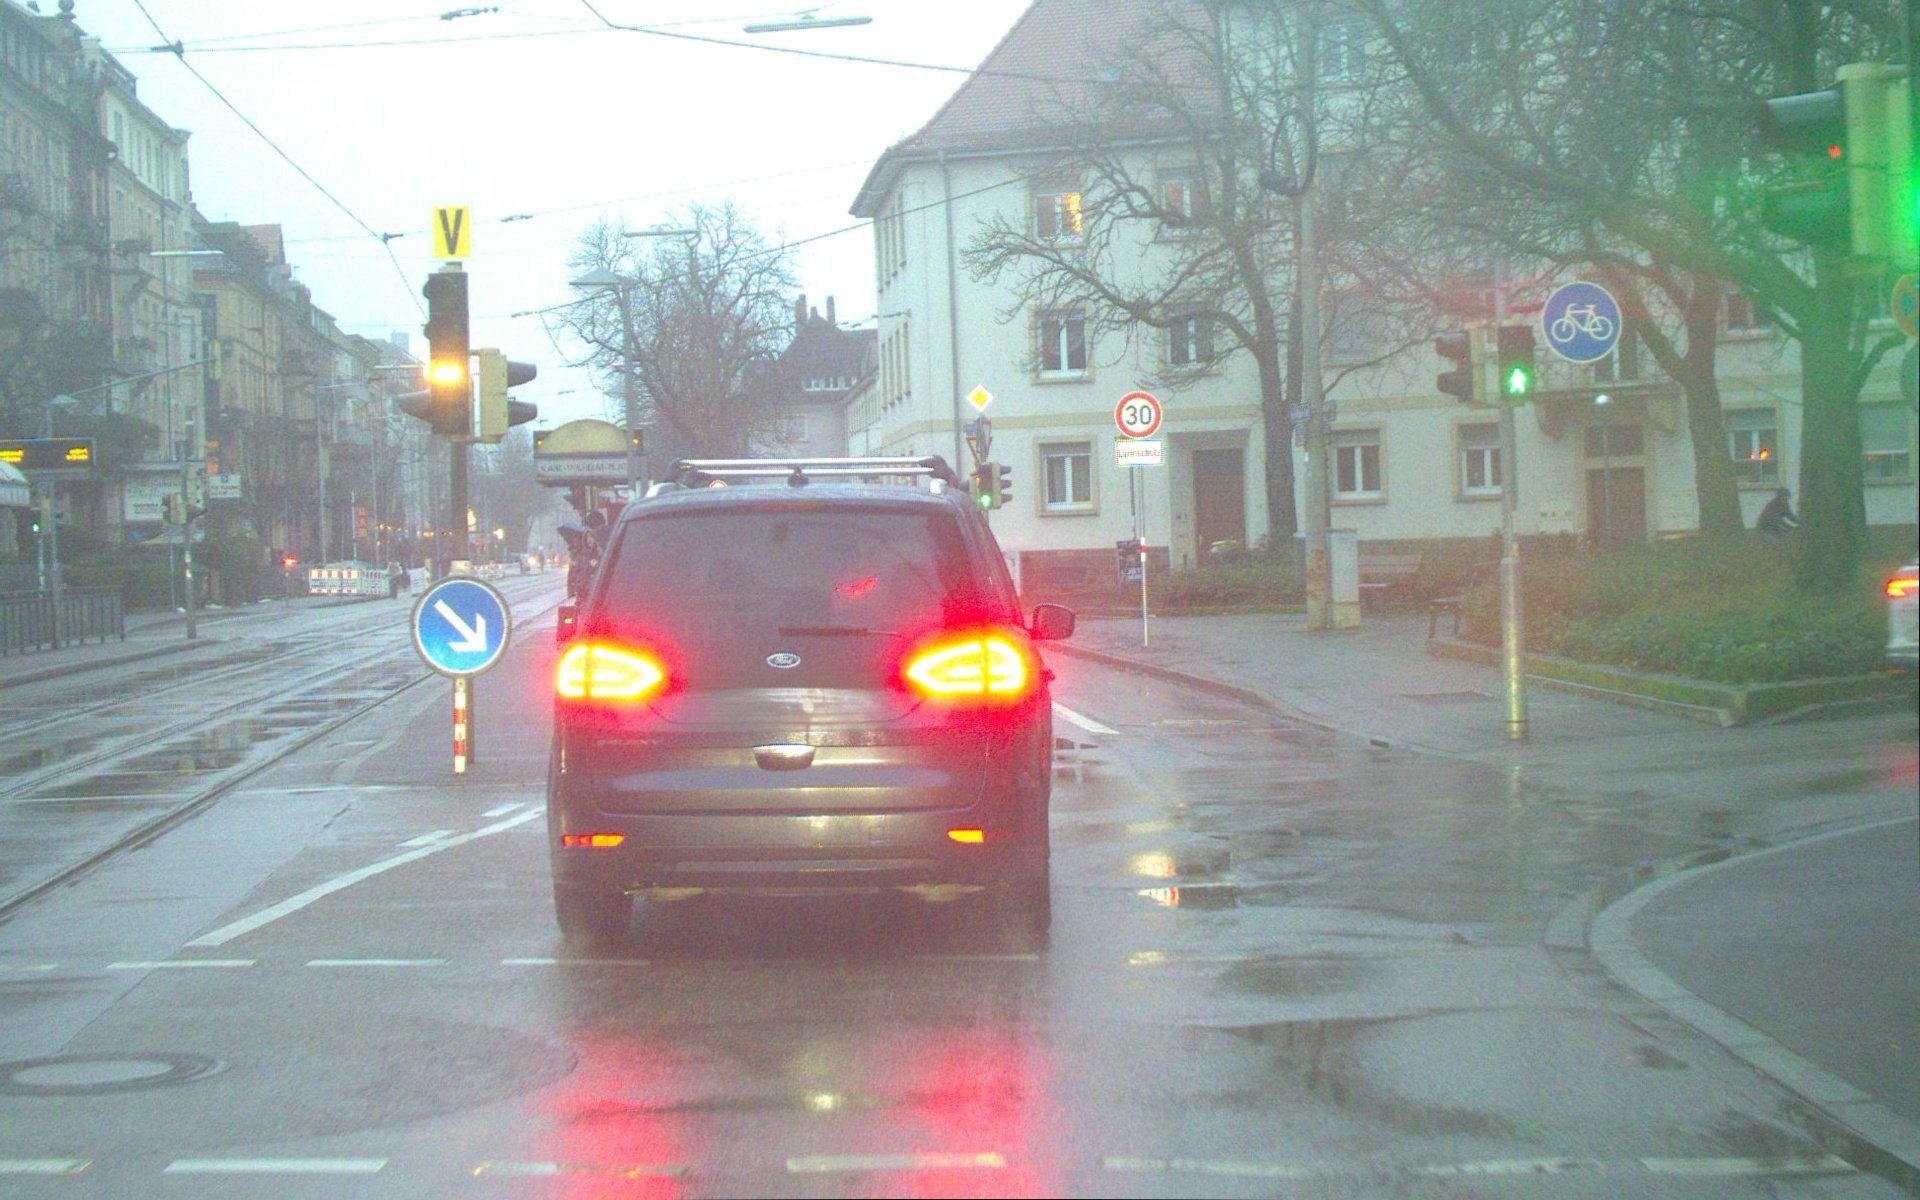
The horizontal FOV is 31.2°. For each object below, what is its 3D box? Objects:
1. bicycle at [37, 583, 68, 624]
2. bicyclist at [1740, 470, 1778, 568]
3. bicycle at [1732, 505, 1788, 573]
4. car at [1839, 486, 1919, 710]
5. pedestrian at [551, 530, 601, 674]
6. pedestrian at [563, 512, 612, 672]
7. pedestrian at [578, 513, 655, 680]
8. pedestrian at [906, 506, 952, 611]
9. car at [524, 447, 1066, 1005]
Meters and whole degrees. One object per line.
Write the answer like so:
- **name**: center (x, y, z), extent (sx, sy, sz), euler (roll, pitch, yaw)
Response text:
- **bicycle**: center (-23.119, 0.079, 87.590), extent (0.416, 1.003, 1.849), euler (-1, 1, -4)
- **bicyclist**: center (15.617, -1.580, 67.202), extent (0.466, 1.880, 0.679), euler (-2, 1, -5)
- **bicycle**: center (15.641, -1.192, 67.247), extent (0.466, 1.287, 1.914), euler (-2, 1, -5)
- **car**: center (8.321, 0.008, 24.532), extent (1.898, 1.505, 4.741), euler (2, 1, 43)
- **pedestrian**: center (-4.706, 0.019, 42.156), extent (0.557, 1.735, 0.571), euler (1, 0, -4)
- **pedestrian**: center (-4.673, -0.106, 43.177), extent (0.557, 1.980, 0.571), euler (1, 0, -4)
- **pedestrian**: center (-4.064, -0.045, 40.726), extent (0.853, 1.949, 0.571), euler (1, 0, -4)
- **pedestrian**: center (-0.567, -0.758, 62.803), extent (0.715, 1.911, 0.688), euler (1, 0, 6)
- **car**: center (-0.682, 0.406, 13.685), extent (1.801, 1.864, 4.018), euler (1, 1, -4)
